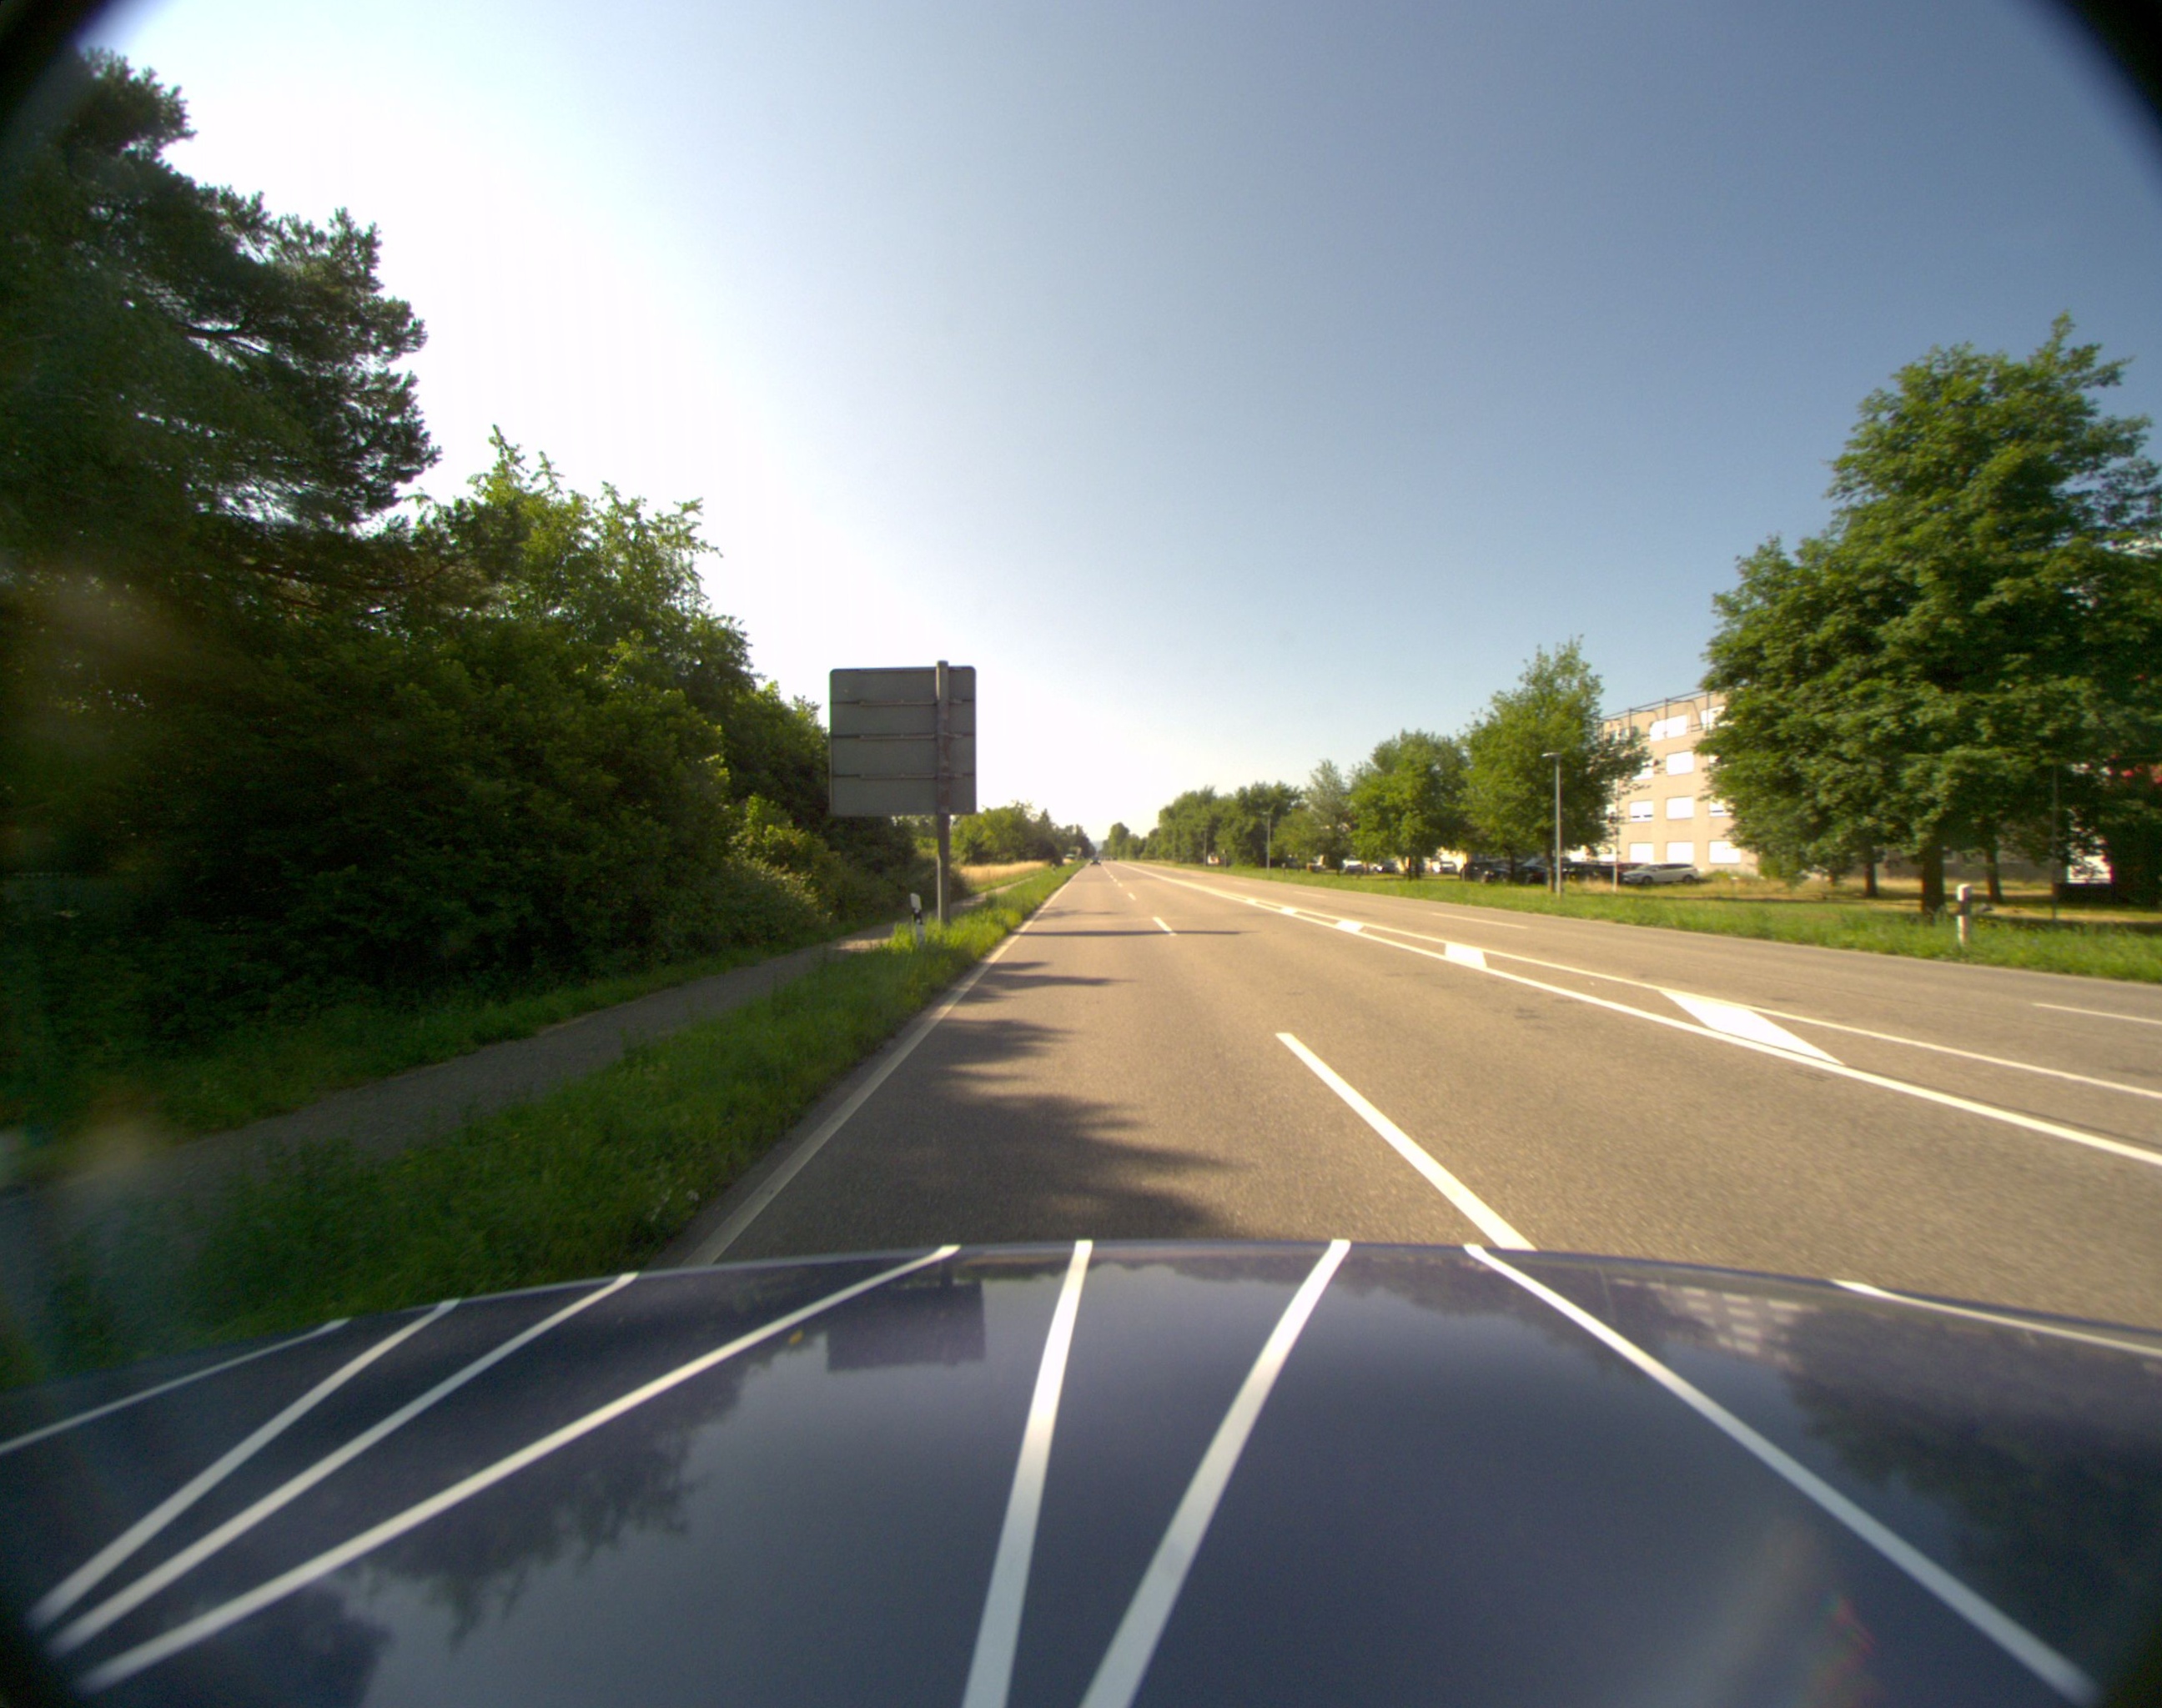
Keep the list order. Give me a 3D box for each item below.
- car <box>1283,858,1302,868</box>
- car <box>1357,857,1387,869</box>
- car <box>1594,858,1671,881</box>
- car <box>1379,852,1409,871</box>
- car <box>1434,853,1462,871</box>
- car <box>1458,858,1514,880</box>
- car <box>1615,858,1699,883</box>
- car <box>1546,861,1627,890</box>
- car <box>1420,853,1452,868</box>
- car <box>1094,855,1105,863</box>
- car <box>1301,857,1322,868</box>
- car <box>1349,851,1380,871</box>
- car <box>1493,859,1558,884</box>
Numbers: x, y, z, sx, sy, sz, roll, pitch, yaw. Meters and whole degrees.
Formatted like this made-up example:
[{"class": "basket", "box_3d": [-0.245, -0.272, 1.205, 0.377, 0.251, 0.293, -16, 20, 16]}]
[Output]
[{"class": "car", "box_3d": [28.854, 1.181, 103.740, 1.676, 1.342, 4.000, 0, 0, 1]}, {"class": "car", "box_3d": [33.807, 1.013, 88.399, 1.934, 1.386, 4.191, 0, 0, 0]}, {"class": "car", "box_3d": [37.607, 1.056, 51.865, 3.997, 1.527, 1.742, 0, 0, 0]}, {"class": "car", "box_3d": [32.345, 0.749, 78.465, 2.068, 1.796, 5.025, 0, 1, 32]}, {"class": "car", "box_3d": [38.266, 0.806, 79.106, 2.068, 1.796, 5.025, 0, 1, 32]}, {"class": "car", "box_3d": [29.648, 1.061, 55.784, 1.747, 1.569, 4.548, 0, 0, 1]}, {"class": "car", "box_3d": [37.516, 1.086, 49.541, 4.145, 1.576, 1.742, 0, 0, 0]}, {"class": "car", "box_3d": [29.527, 1.237, 44.570, 1.747, 1.569, 4.548, 0, 0, 1]}, {"class": "car", "box_3d": [41.988, 0.774, 89.978, 1.861, 1.648, 4.169, -1, 0, 1]}, {"class": "car", "box_3d": [3.199, 0.875, 129.286, 1.768, 1.403, 4.001, 0, -1, 2]}, {"class": "car", "box_3d": [31.545, 1.162, 104.190, 1.676, 1.342, 4.000, 0, 0, 1]}, {"class": "car", "box_3d": [29.284, 0.705, 78.498, 2.068, 1.918, 5.025, 0, 1, 32]}, {"class": "car", "box_3d": [29.697, 1.157, 50.897, 1.747, 1.569, 4.548, 0, 0, 1]}]
